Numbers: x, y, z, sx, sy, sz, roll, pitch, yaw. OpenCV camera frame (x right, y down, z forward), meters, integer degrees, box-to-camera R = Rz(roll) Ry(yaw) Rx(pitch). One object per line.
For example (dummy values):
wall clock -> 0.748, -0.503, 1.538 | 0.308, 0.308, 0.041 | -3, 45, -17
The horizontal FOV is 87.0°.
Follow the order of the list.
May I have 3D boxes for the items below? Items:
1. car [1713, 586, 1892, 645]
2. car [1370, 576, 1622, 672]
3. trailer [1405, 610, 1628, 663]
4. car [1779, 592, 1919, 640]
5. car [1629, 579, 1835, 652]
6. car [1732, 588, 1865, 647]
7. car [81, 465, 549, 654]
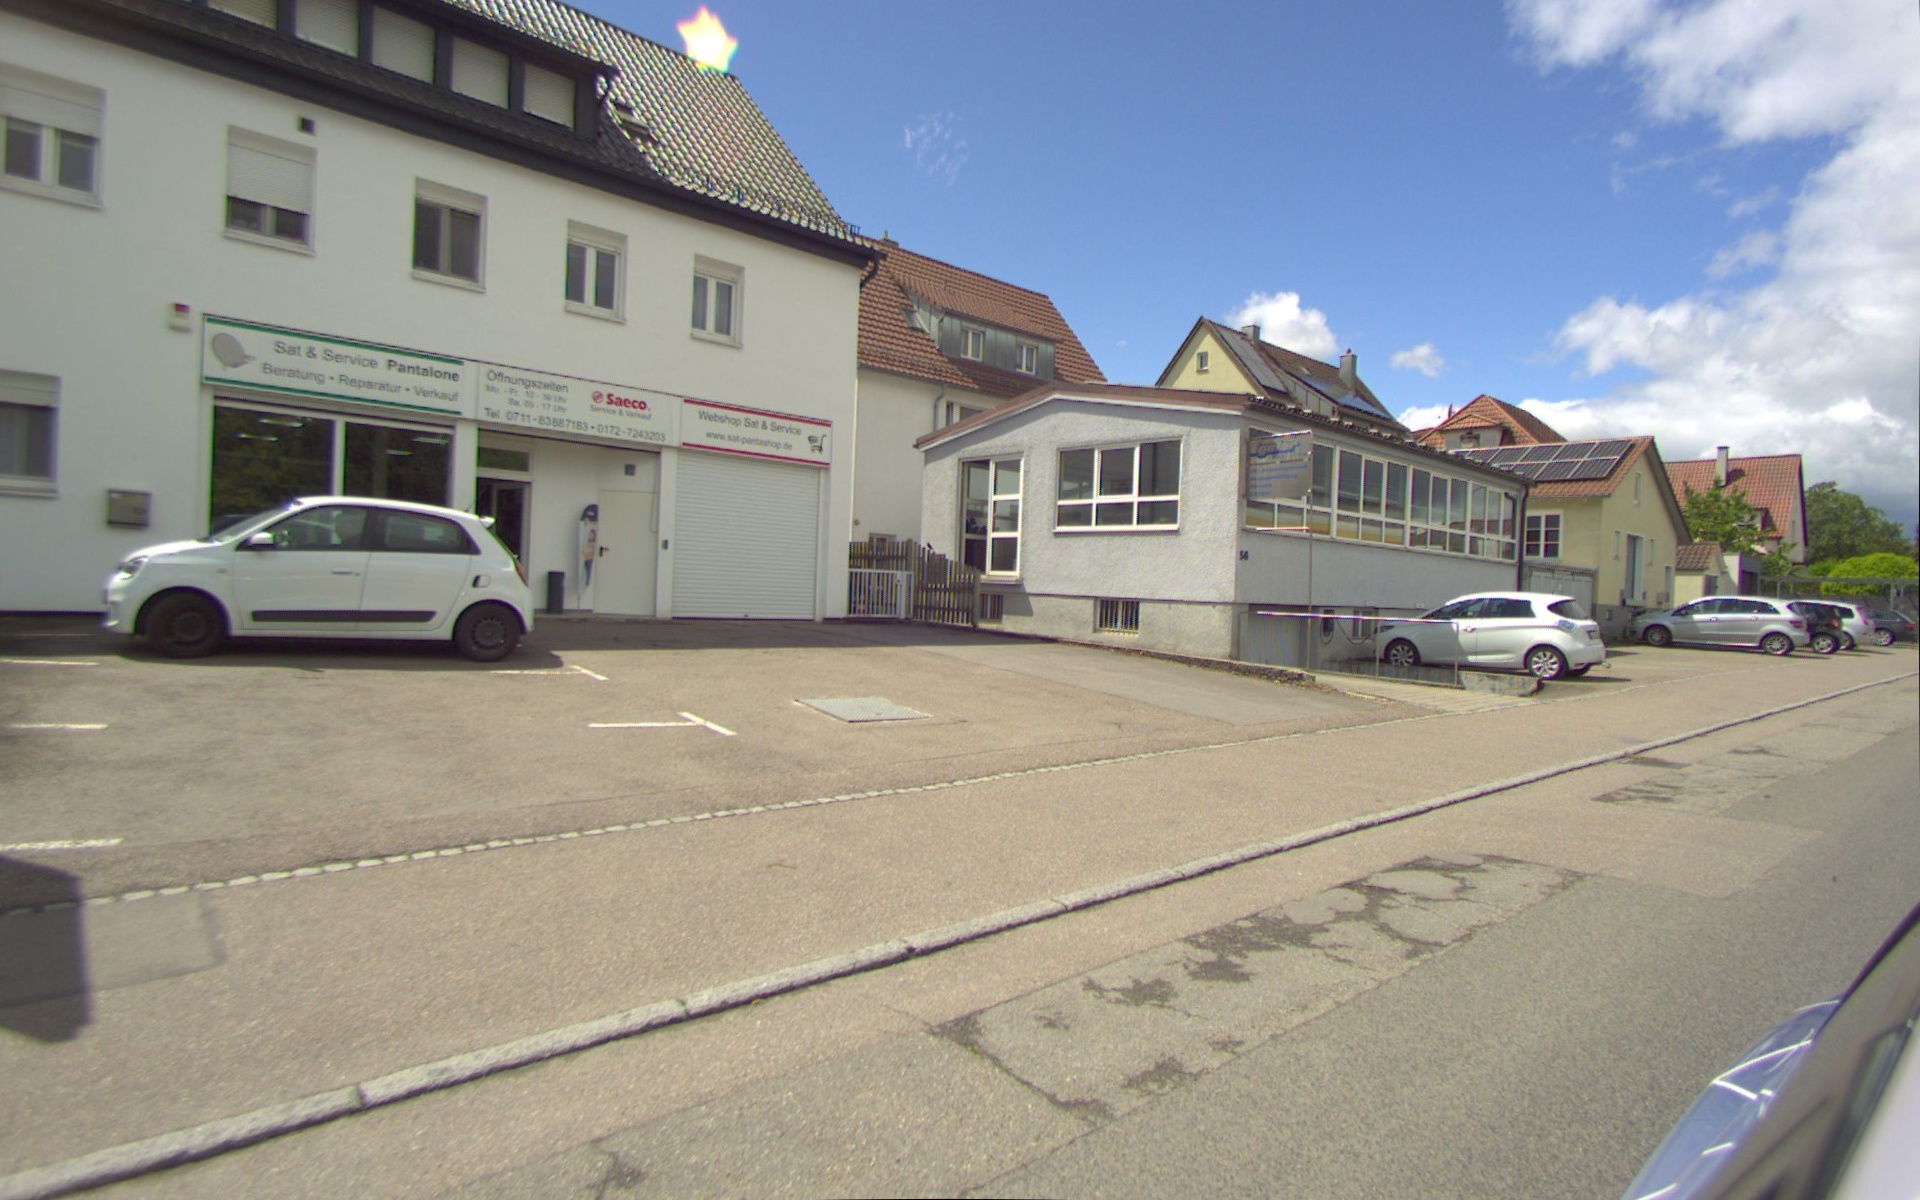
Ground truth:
car -> 28.639, 0.468, 34.497 | 1.941, 1.543, 4.415 | 1, 4, -43
car -> 10.091, 0.407, 19.254 | 1.719, 1.629, 3.905 | 1, 0, -41
trailer -> 11.724, 0.726, 21.502 | 1.628, 0.818, 3.823 | 1, 2, -41
car -> 34.862, 0.599, 39.339 | 1.941, 1.424, 4.415 | 1, 4, -43
car -> 22.267, 0.388, 29.319 | 1.941, 1.628, 4.415 | 1, 4, -43
car -> 26.237, 0.510, 31.692 | 1.941, 1.543, 2.893 | 1, 4, -43
car -> -6.181, -0.349, 10.050 | 3.592, 1.537, 1.639 | 3, 3, -33
